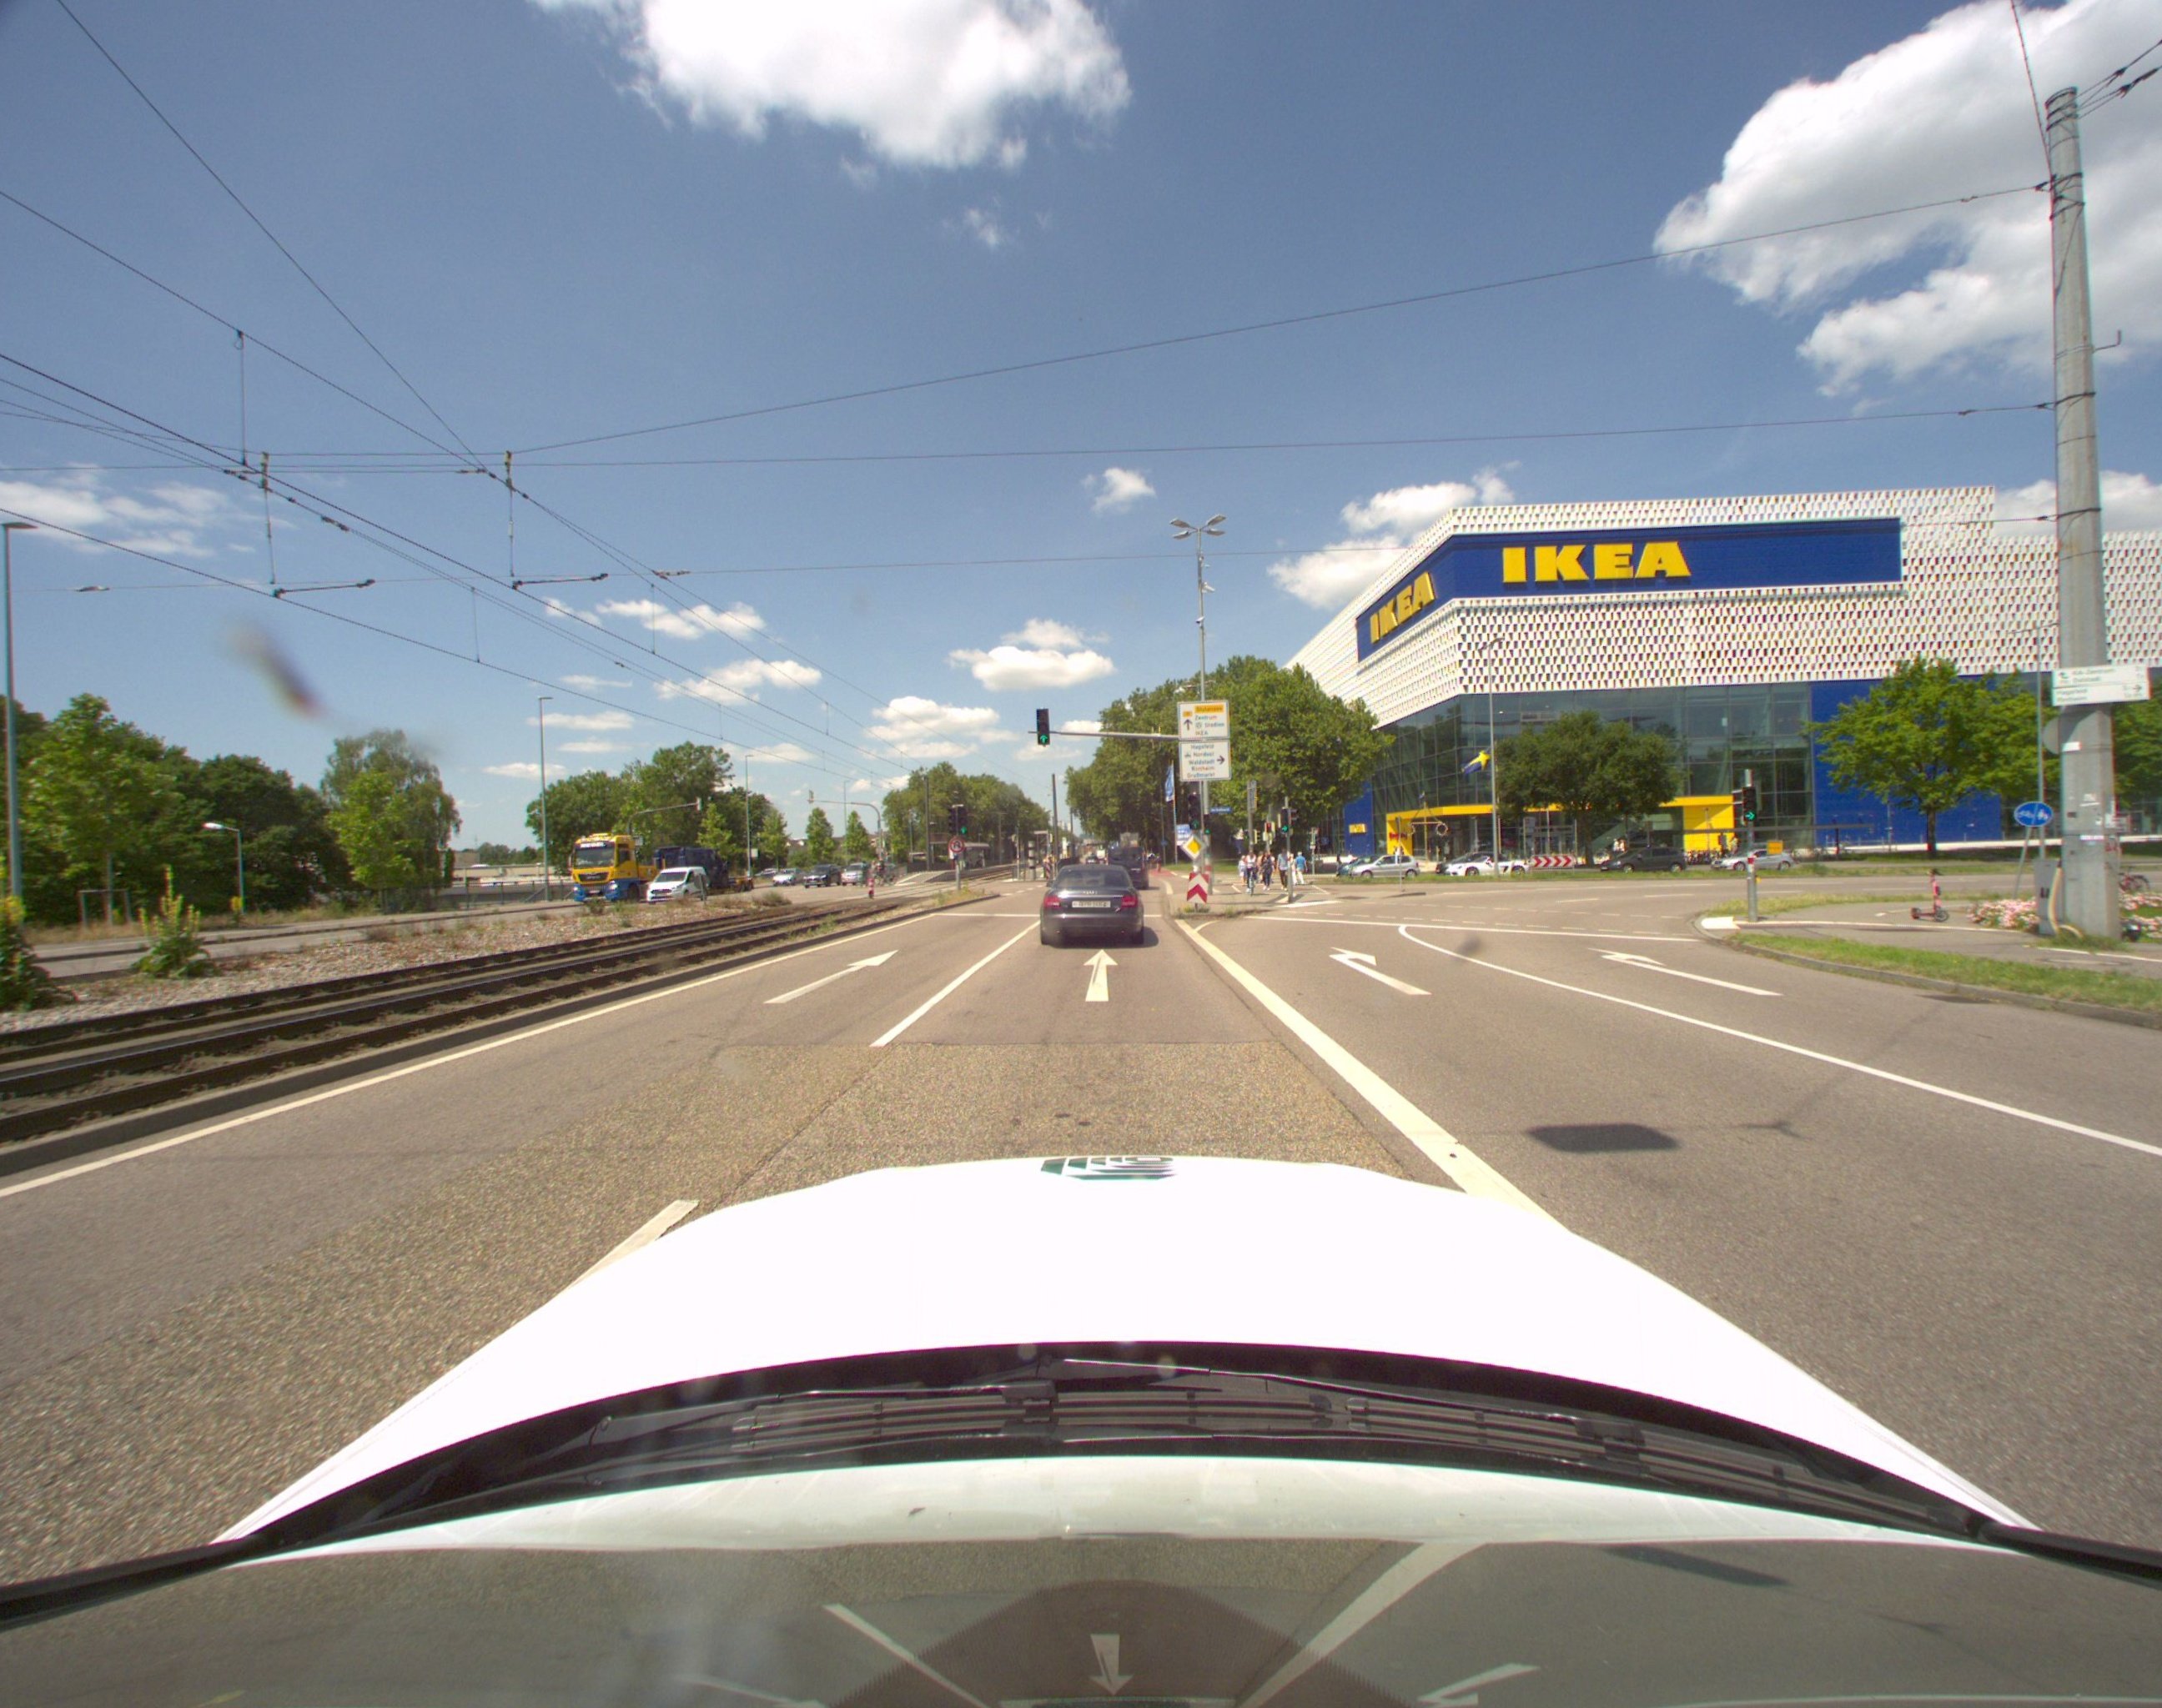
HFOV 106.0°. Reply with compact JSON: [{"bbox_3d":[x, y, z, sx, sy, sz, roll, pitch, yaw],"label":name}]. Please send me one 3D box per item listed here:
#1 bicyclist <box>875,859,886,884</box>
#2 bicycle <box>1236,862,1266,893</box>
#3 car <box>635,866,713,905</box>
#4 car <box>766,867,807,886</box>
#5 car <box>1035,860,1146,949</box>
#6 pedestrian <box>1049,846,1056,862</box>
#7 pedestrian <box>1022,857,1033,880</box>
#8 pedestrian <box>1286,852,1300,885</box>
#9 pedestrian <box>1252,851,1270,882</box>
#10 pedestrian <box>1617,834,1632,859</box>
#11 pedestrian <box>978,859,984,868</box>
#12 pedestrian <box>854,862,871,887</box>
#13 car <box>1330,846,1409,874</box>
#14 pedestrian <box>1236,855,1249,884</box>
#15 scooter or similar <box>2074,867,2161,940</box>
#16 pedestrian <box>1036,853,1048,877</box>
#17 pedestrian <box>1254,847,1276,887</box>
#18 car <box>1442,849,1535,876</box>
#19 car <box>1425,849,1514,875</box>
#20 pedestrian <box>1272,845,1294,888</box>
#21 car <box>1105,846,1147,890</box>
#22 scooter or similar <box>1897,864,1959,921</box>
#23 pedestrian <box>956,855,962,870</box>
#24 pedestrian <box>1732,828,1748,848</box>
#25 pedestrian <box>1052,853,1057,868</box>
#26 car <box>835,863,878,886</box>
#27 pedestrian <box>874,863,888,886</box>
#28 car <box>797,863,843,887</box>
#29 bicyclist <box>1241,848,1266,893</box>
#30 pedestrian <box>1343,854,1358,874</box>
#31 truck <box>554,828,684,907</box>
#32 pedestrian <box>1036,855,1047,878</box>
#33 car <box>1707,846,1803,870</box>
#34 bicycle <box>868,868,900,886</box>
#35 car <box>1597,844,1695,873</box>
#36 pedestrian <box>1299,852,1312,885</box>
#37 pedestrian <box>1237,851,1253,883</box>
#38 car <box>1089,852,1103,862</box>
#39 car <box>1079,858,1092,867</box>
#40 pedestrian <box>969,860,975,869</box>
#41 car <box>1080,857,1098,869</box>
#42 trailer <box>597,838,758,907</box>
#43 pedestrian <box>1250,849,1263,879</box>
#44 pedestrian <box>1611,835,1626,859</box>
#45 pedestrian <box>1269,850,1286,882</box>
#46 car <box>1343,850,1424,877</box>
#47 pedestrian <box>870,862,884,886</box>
[{"bbox_3d":[-13.084,1.150,53.245,0.665,1.615,0.730,-1,0,-15],"label":"bicyclist"},{"bbox_3d":[6.565,0.891,31.494,0.825,1.162,1.880,-1,0,3],"label":"bicycle"},{"bbox_3d":[-20.792,1.554,41.870,1.989,1.838,4.427,0,-1,-4],"label":"car"},{"bbox_3d":[-25.522,1.922,70.715,1.988,1.463,4.277,-1,0,-1],"label":"car"},{"bbox_3d":[0.243,0.857,15.560,1.835,1.484,4.002,0,-1,2],"label":"car"},{"bbox_3d":[-2.999,-0.043,85.952,0.611,1.681,0.719,-1,0,-1],"label":"pedestrian"},{"bbox_3d":[-3.847,1.044,58.377,0.730,1.673,0.678,-1,0,-2],"label":"pedestrian"},{"bbox_3d":[10.721,0.715,41.140,0.601,1.638,0.867,-1,-2,16],"label":"pedestrian"},{"bbox_3d":[9.504,0.656,43.002,0.788,1.659,0.856,-1,0,18],"label":"pedestrian"},{"bbox_3d":[44.707,-0.608,67.000,0.792,2.013,0.735,-1,0,9],"label":"pedestrian"},{"bbox_3d":[-12.852,1.223,104.691,0.574,1.190,0.639,-2,0,1],"label":"pedestrian"},{"bbox_3d":[-14.566,1.372,54.326,0.954,1.610,0.763,-1,0,-2],"label":"pedestrian"},{"bbox_3d":[16.944,0.351,47.925,3.975,1.555,1.999,-1,0,-1],"label":"car"},{"bbox_3d":[8.087,0.773,40.860,0.586,1.476,0.808,0,0,7],"label":"pedestrian"},{"bbox_3d":[16.858,0.796,13.229,0.474,1.126,1.286,-1,-4,30],"label":"scooter or similar"},{"bbox_3d":[-2.951,0.806,61.228,0.860,1.802,0.882,-1,0,-3],"label":"pedestrian"},{"bbox_3d":[8.260,0.592,36.550,0.801,1.759,0.797,-1,0,-1],"label":"pedestrian"},{"bbox_3d":[22.223,0.455,44.505,4.201,1.398,1.805,-1,0,3],"label":"car"},{"bbox_3d":[22.928,0.469,48.135,4.386,1.443,1.853,-1,0,0],"label":"car"},{"bbox_3d":[8.885,0.539,35.811,0.799,1.865,0.799,-1,0,5],"label":"pedestrian"},{"bbox_3d":[2.094,0.628,38.237,1.841,1.959,4.147,-1,0,3],"label":"car"},{"bbox_3d":[20.044,0.889,19.295,0.475,1.291,1.285,-1,0,20],"label":"scooter or similar"},{"bbox_3d":[-13.126,0.898,87.558,0.556,1.638,0.805,-1,0,-6],"label":"pedestrian"},{"bbox_3d":[54.321,-1.307,67.119,0.765,1.586,0.579,-1,0,-5],"label":"pedestrian"},{"bbox_3d":[-2.795,0.658,84.914,0.495,1.577,0.557,-2,0,-1],"label":"pedestrian"},{"bbox_3d":[-16.706,1.525,60.855,1.986,1.629,4.002,-1,0,2],"label":"car"},{"bbox_3d":[-13.646,1.410,55.509,0.759,1.548,0.763,-1,0,-2],"label":"pedestrian"},{"bbox_3d":[-19.362,1.528,60.582,1.986,1.629,4.002,-1,0,2],"label":"car"},{"bbox_3d":[6.664,0.632,31.551,0.811,1.700,0.799,-1,0,1],"label":"bicyclist"},{"bbox_3d":[20.913,0.775,63.189,0.916,1.586,0.632,-1,0,-5],"label":"pedestrian"},{"bbox_3d":[-25.941,0.692,46.251,3.116,4.039,7.472,-1,0,-1],"label":"truck"},{"bbox_3d":[-2.757,0.894,56.977,0.783,1.572,0.764,-1,0,-2],"label":"pedestrian"},{"bbox_3d":[41.804,0.241,50.584,4.381,1.398,1.865,-1,0,3],"label":"car"},{"bbox_3d":[-12.903,1.497,53.297,1.975,1.101,0.761,-1,0,-15],"label":"bicycle"},{"bbox_3d":[32.891,0.264,47.529,4.381,1.584,1.865,-1,0,3],"label":"car"},{"bbox_3d":[11.301,0.710,40.951,0.598,1.638,0.867,-1,-2,16],"label":"pedestrian"},{"bbox_3d":[8.882,0.691,44.030,0.778,1.672,0.949,-1,0,8],"label":"pedestrian"},{"bbox_3d":[2.599,0.525,143.970,1.792,1.870,4.990,-1,0,-6],"label":"car"},{"bbox_3d":[0.724,1.357,133.864,1.792,1.409,3.992,-1,0,-6],"label":"car"},{"bbox_3d":[-13.014,1.272,97.074,0.574,1.094,0.639,-2,0,1],"label":"pedestrian"},{"bbox_3d":[1.006,1.092,100.617,1.792,1.409,3.992,-1,0,-6],"label":"car"},{"bbox_3d":[-25.963,1.074,53.916,3.105,3.871,15.476,-1,0,-1],"label":"trailer"},{"bbox_3d":[10.203,0.572,47.358,0.618,1.683,0.729,-1,0,19],"label":"pedestrian"},{"bbox_3d":[44.938,-0.601,68.103,0.791,2.013,0.735,-1,0,13],"label":"pedestrian"},{"bbox_3d":[10.521,0.628,43.565,0.788,1.659,0.856,-1,0,18],"label":"pedestrian"},{"bbox_3d":[16.485,0.517,44.513,3.807,1.397,1.805,-1,0,3],"label":"car"},{"bbox_3d":[-14.254,1.380,57.014,0.759,1.672,0.763,-1,0,-2],"label":"pedestrian"}]
